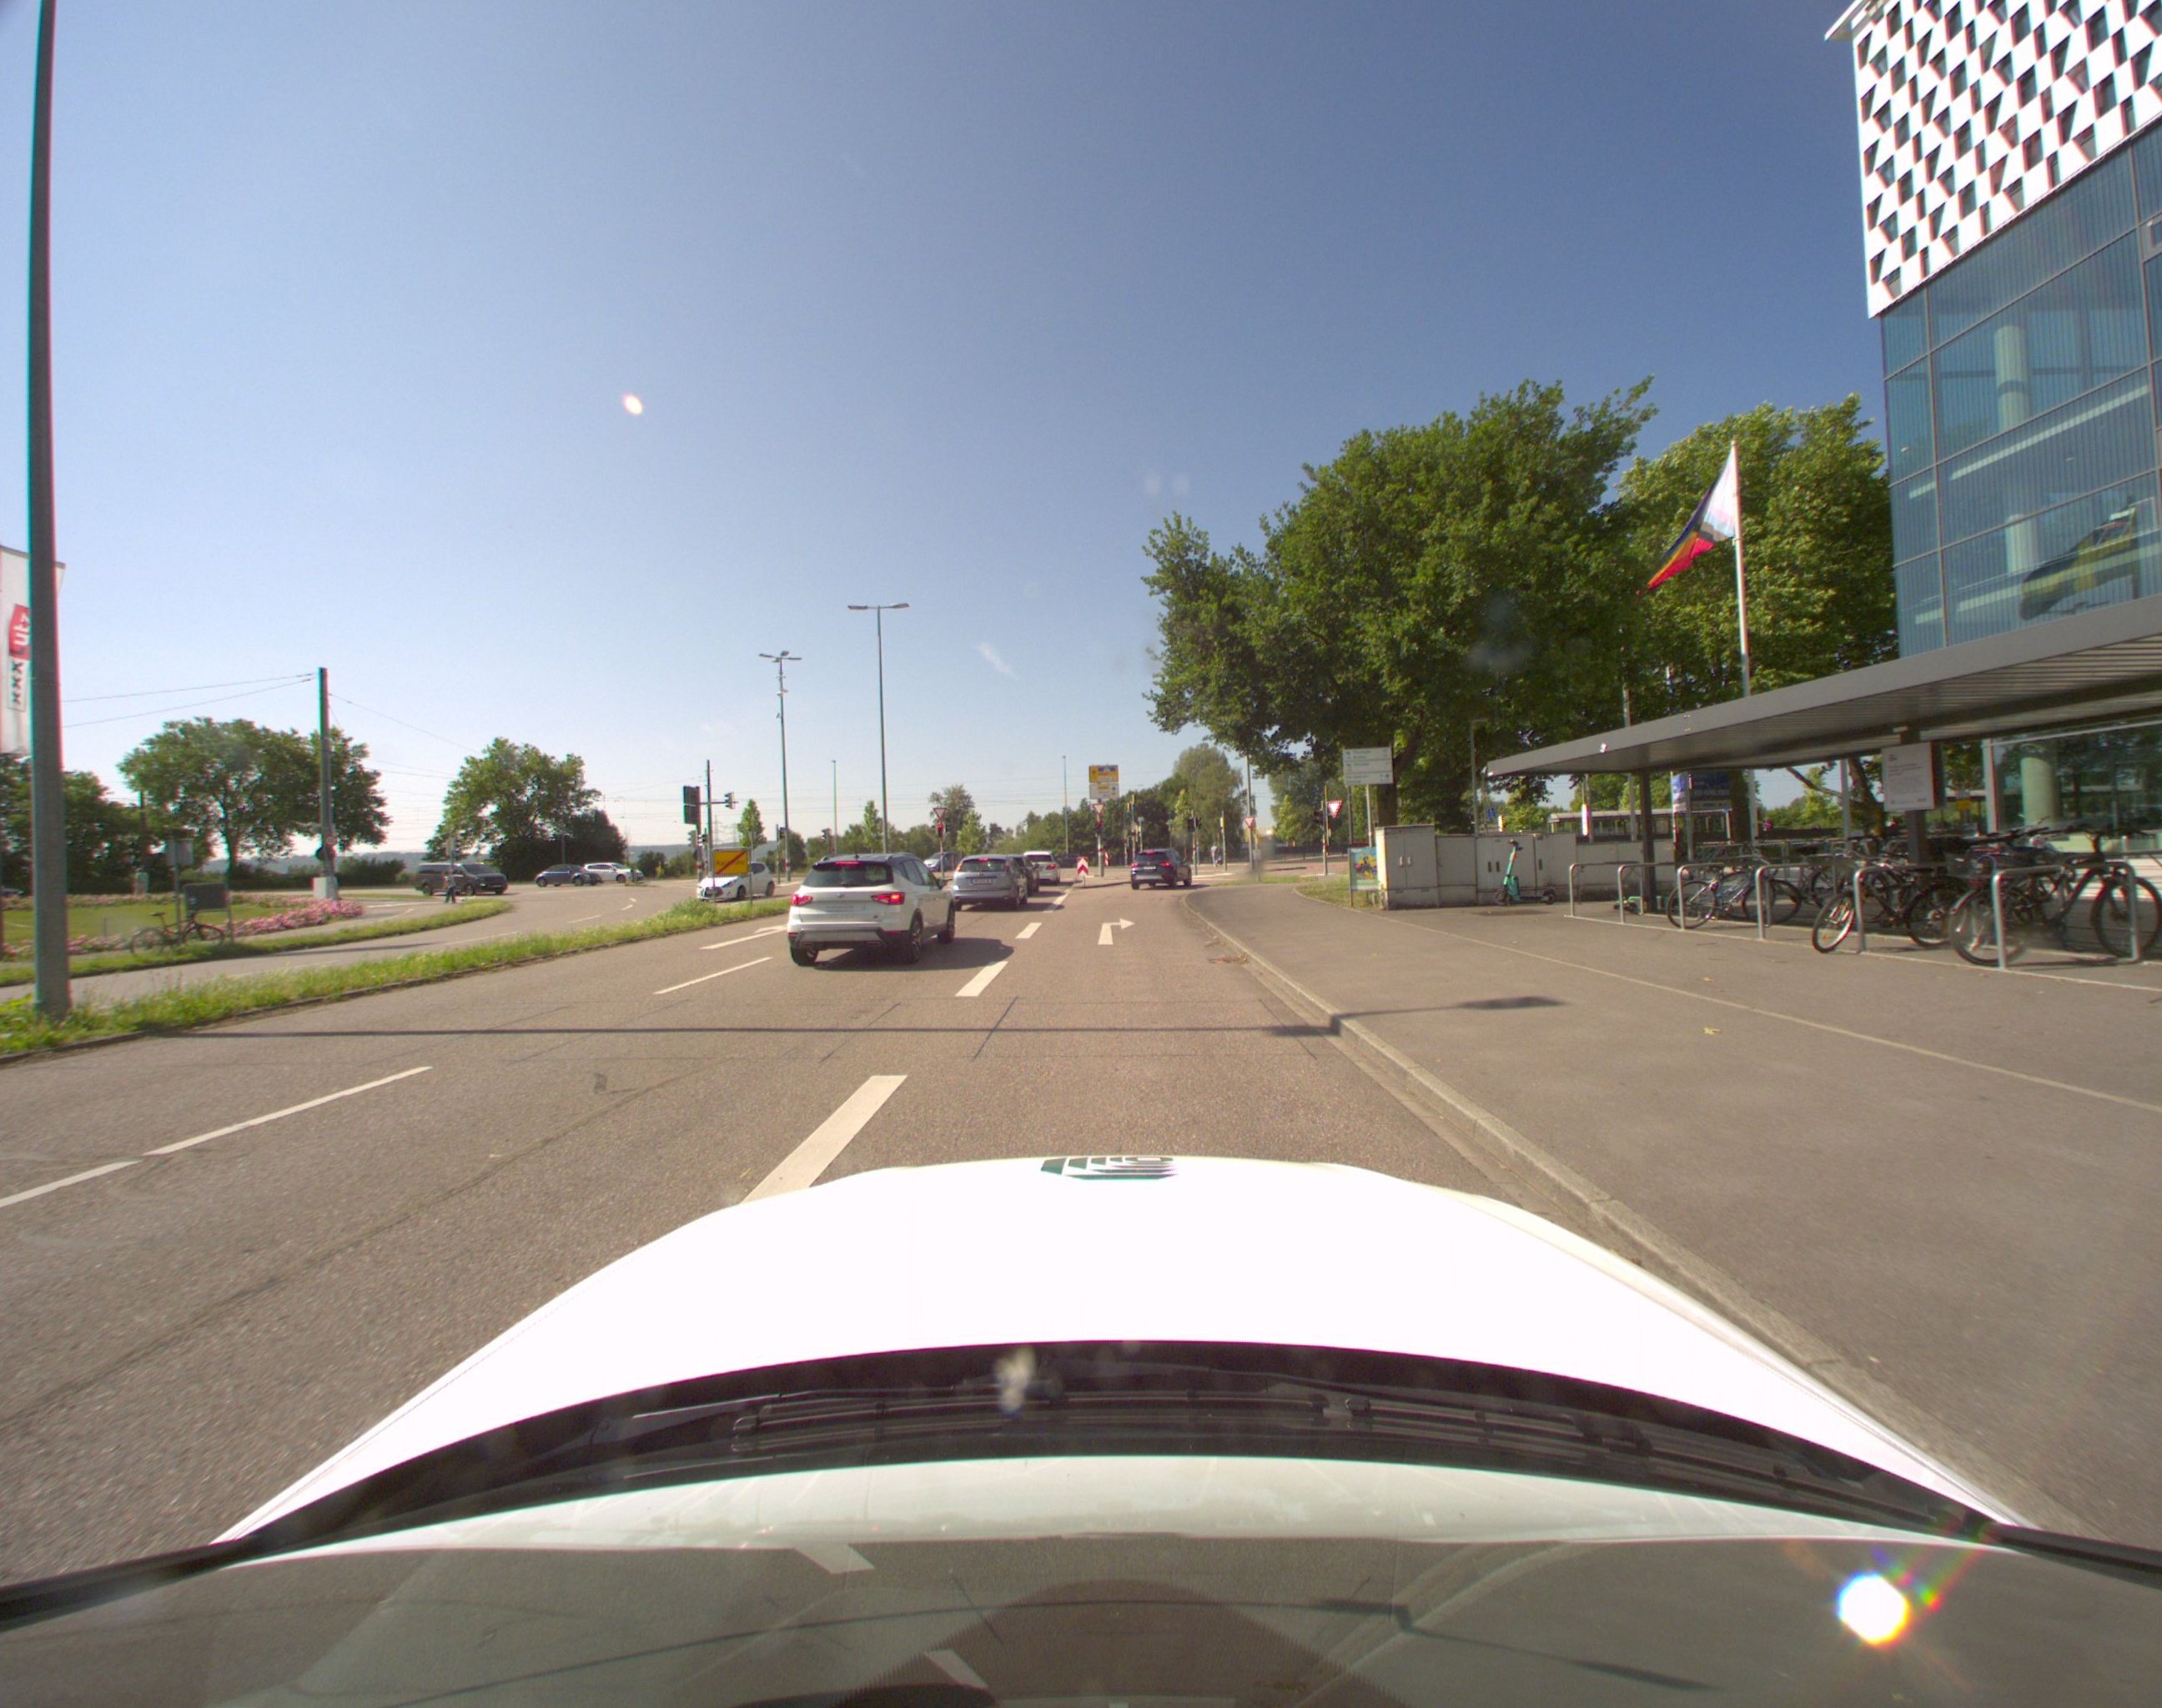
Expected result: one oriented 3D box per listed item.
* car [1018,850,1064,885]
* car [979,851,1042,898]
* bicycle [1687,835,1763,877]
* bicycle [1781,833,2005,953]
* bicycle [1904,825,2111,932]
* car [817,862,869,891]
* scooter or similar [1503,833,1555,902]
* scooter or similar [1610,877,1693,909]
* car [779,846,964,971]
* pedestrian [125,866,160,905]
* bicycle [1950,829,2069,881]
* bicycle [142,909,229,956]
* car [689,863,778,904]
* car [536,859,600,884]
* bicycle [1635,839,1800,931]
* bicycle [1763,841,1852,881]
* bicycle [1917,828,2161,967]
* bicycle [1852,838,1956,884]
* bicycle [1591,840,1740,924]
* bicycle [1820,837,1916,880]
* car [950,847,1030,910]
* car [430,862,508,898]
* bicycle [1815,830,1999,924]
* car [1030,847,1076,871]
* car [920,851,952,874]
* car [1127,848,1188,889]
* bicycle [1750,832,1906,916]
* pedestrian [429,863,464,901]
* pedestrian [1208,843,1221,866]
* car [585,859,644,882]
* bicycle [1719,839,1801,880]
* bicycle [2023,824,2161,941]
[{"bbox_3d":[-1.779,0.577,37.616,1.735,1.448,4.391,-2,0,2],"label":"car"},{"bbox_3d":[-2.483,0.678,29.651,1.731,1.511,4.202,-3,0,2],"label":"car"},{"bbox_3d":[16.556,0.056,20.952,1.555,0.995,0.434,-2,0,3],"label":"bicycle"},{"bbox_3d":[8.181,0.384,8.239,1.752,1.096,0.452,-3,0,1],"label":"bicycle"},{"bbox_3d":[10.437,0.269,9.204,1.752,1.096,0.452,-3,0,1],"label":"bicycle"},{"bbox_3d":[-9.307,0.870,31.948,1.112,1.004,2.494,-3,0,4],"label":"car"},{"bbox_3d":[8.548,0.250,15.552,0.774,1.265,0.283,-3,0,-1],"label":"scooter or similar"},{"bbox_3d":[9.444,0.641,13.525,0.908,0.451,0.966,-4,-2,22],"label":"scooter or similar"},{"bbox_3d":[-3.006,0.695,12.525,1.624,1.498,3.873,-1,2,3],"label":"car"},{"bbox_3d":[-48.702,1.636,42.276,0.712,1.972,0.919,-2,-2,6],"label":"pedestrian"},{"bbox_3d":[16.663,0.018,14.631,1.555,0.843,0.434,-2,0,3],"label":"bicycle"},{"bbox_3d":[-21.995,1.903,20.038,0.329,1.023,1.642,-3,-2,-1],"label":"bicycle"},{"bbox_3d":[-14.814,1.219,34.962,1.786,1.547,4.091,-2,-1,4],"label":"car"},{"bbox_3d":[-34.571,1.190,54.949,3.375,1.500,1.409,-2,-2,-1],"label":"car"},{"bbox_3d":[8.308,0.392,10.660,1.752,1.096,0.452,-3,0,1],"label":"bicycle"},{"bbox_3d":[16.442,0.158,18.458,1.555,0.843,0.434,-2,0,3],"label":"bicycle"},{"bbox_3d":[8.434,0.365,7.102,1.752,1.096,0.452,-3,0,1],"label":"bicycle"},{"bbox_3d":[16.442,0.145,16.285,1.555,0.843,0.434,-2,0,3],"label":"bicycle"},{"bbox_3d":[8.347,0.389,11.660,1.752,1.096,0.452,-3,0,1],"label":"bicycle"},{"bbox_3d":[16.537,0.093,17.130,1.555,0.843,0.434,-2,0,2],"label":"bicycle"},{"bbox_3d":[-2.445,0.622,22.820,1.700,1.573,4.174,-1,0,1],"label":"car"},{"bbox_3d":[-35.269,1.467,46.945,3.951,1.925,1.827,-1,1,23],"label":"car"},{"bbox_3d":[10.517,0.286,10.398,1.822,1.096,0.452,-3,0,1],"label":"bicycle"},{"bbox_3d":[-2.624,0.507,75.015,3.984,2.014,1.995,-2,-2,-7],"label":"car"},{"bbox_3d":[-11.533,0.674,64.838,1.621,1.624,3.919,-2,1,2],"label":"car"},{"bbox_3d":[3.071,0.540,32.074,1.656,1.523,3.392,-1,0,17],"label":"car"},{"bbox_3d":[10.620,0.280,11.604,1.752,1.096,0.452,-3,0,1],"label":"bicycle"},{"bbox_3d":[-30.058,1.318,38.608,0.834,1.707,0.909,-3,0,14],"label":"pedestrian"},{"bbox_3d":[9.060,0.016,55.235,0.767,1.510,1.011,-2,1,13],"label":"pedestrian"},{"bbox_3d":[-33.329,1.201,58.212,3.335,1.500,1.408,-2,-2,-3],"label":"car"},{"bbox_3d":[16.524,0.131,19.839,1.555,0.910,0.434,-2,0,3],"label":"bicycle"},{"bbox_3d":[10.639,0.264,8.179,1.752,1.096,0.452,-3,0,1],"label":"bicycle"}]
